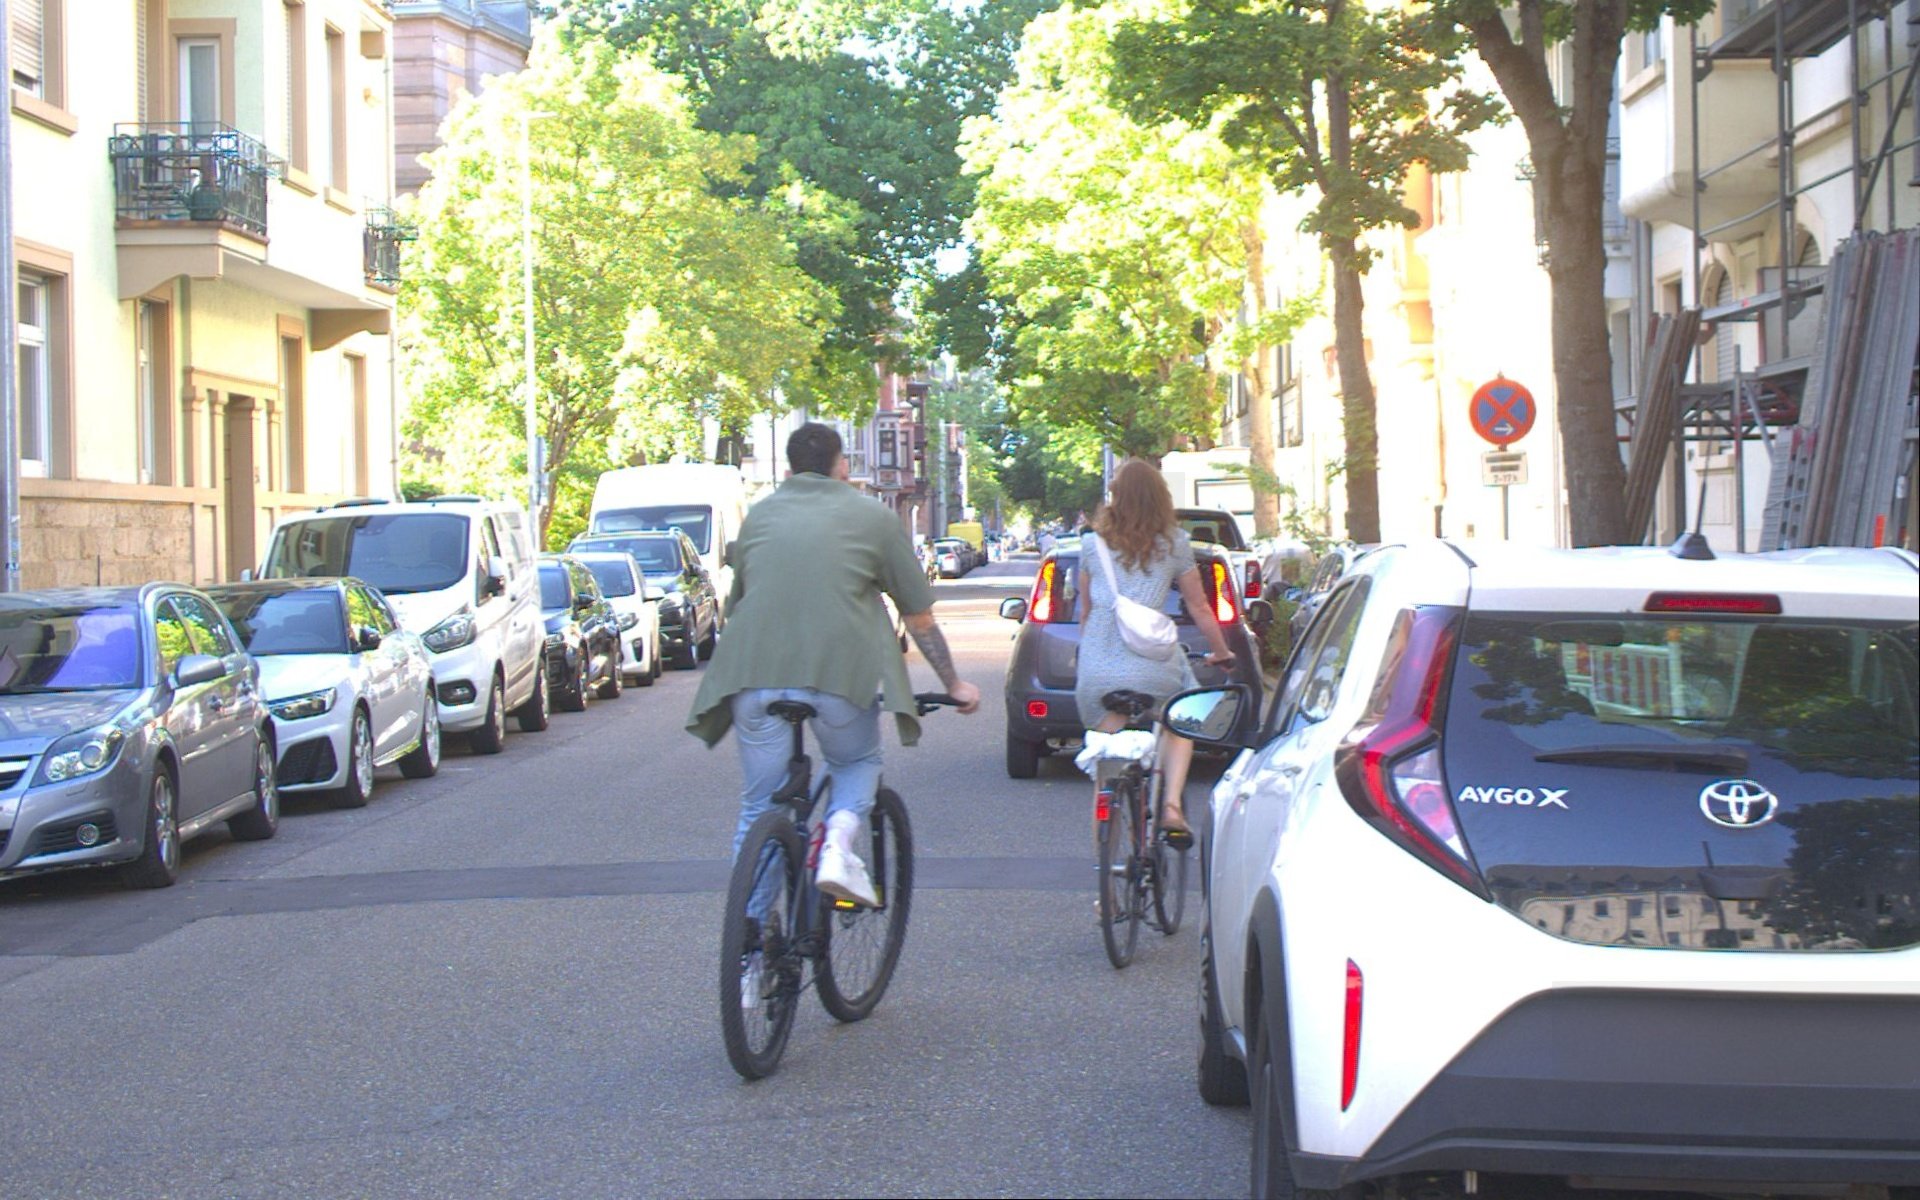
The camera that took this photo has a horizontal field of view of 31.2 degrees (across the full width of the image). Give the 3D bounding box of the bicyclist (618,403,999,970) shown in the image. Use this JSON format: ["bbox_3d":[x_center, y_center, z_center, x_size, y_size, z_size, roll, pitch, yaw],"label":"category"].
[{"bbox_3d":[-0.423,0.258,9.970,0.882,1.556,0.867,-2,-2,13],"label":"bicyclist"}]

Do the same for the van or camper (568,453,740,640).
[{"bbox_3d":[-4.363,-0.789,49.718,1.993,2.544,5.023,-1,1,0],"label":"van or camper"}]

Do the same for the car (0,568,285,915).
[{"bbox_3d":[-4.719,0.642,17.074,1.978,1.450,4.114,-3,1,-2],"label":"car"}]

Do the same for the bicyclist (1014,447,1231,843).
[{"bbox_3d":[0.602,0.181,12.515,0.623,1.376,0.867,-2,-3,12],"label":"bicyclist"}]

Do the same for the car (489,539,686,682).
[{"bbox_3d":[-4.164,0.081,38.980,1.710,1.499,4.000,-1,1,1],"label":"car"}]

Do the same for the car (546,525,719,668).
[{"bbox_3d":[-4.094,-0.087,43.492,1.710,1.693,4.000,-1,1,1],"label":"car"}]

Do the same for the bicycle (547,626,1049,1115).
[{"bbox_3d":[-0.405,0.714,10.113,0.839,1.145,2.231,1,3,15],"label":"bicycle"}]

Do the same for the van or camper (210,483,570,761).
[{"bbox_3d":[-4.499,0.118,27.912,1.993,2.007,4.911,-1,1,1],"label":"van or camper"}]

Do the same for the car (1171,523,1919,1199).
[{"bbox_3d":[1.412,0.616,7.772,1.675,1.540,3.403,1,1,1],"label":"car"}]

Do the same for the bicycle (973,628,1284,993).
[{"bbox_3d":[0.666,0.712,12.664,0.839,1.145,2.232,1,1,11],"label":"bicycle"}]

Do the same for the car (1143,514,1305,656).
[{"bbox_3d":[3.286,-0.218,43.464,1.686,1.678,4.000,-1,1,0],"label":"car"}]

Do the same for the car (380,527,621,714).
[{"bbox_3d":[-4.394,0.148,33.401,1.710,1.678,4.000,-1,1,1],"label":"car"}]

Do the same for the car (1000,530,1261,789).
[{"bbox_3d":[1.117,0.327,22.632,1.557,1.527,3.486,1,1,3],"label":"car"}]

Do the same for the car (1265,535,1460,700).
[{"bbox_3d":[3.772,0.126,32.634,1.557,1.404,3.380,2,2,3],"label":"car"}]

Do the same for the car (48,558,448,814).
[{"bbox_3d":[-4.483,0.487,22.168,1.686,1.448,3.710,-1,1,1],"label":"car"}]
